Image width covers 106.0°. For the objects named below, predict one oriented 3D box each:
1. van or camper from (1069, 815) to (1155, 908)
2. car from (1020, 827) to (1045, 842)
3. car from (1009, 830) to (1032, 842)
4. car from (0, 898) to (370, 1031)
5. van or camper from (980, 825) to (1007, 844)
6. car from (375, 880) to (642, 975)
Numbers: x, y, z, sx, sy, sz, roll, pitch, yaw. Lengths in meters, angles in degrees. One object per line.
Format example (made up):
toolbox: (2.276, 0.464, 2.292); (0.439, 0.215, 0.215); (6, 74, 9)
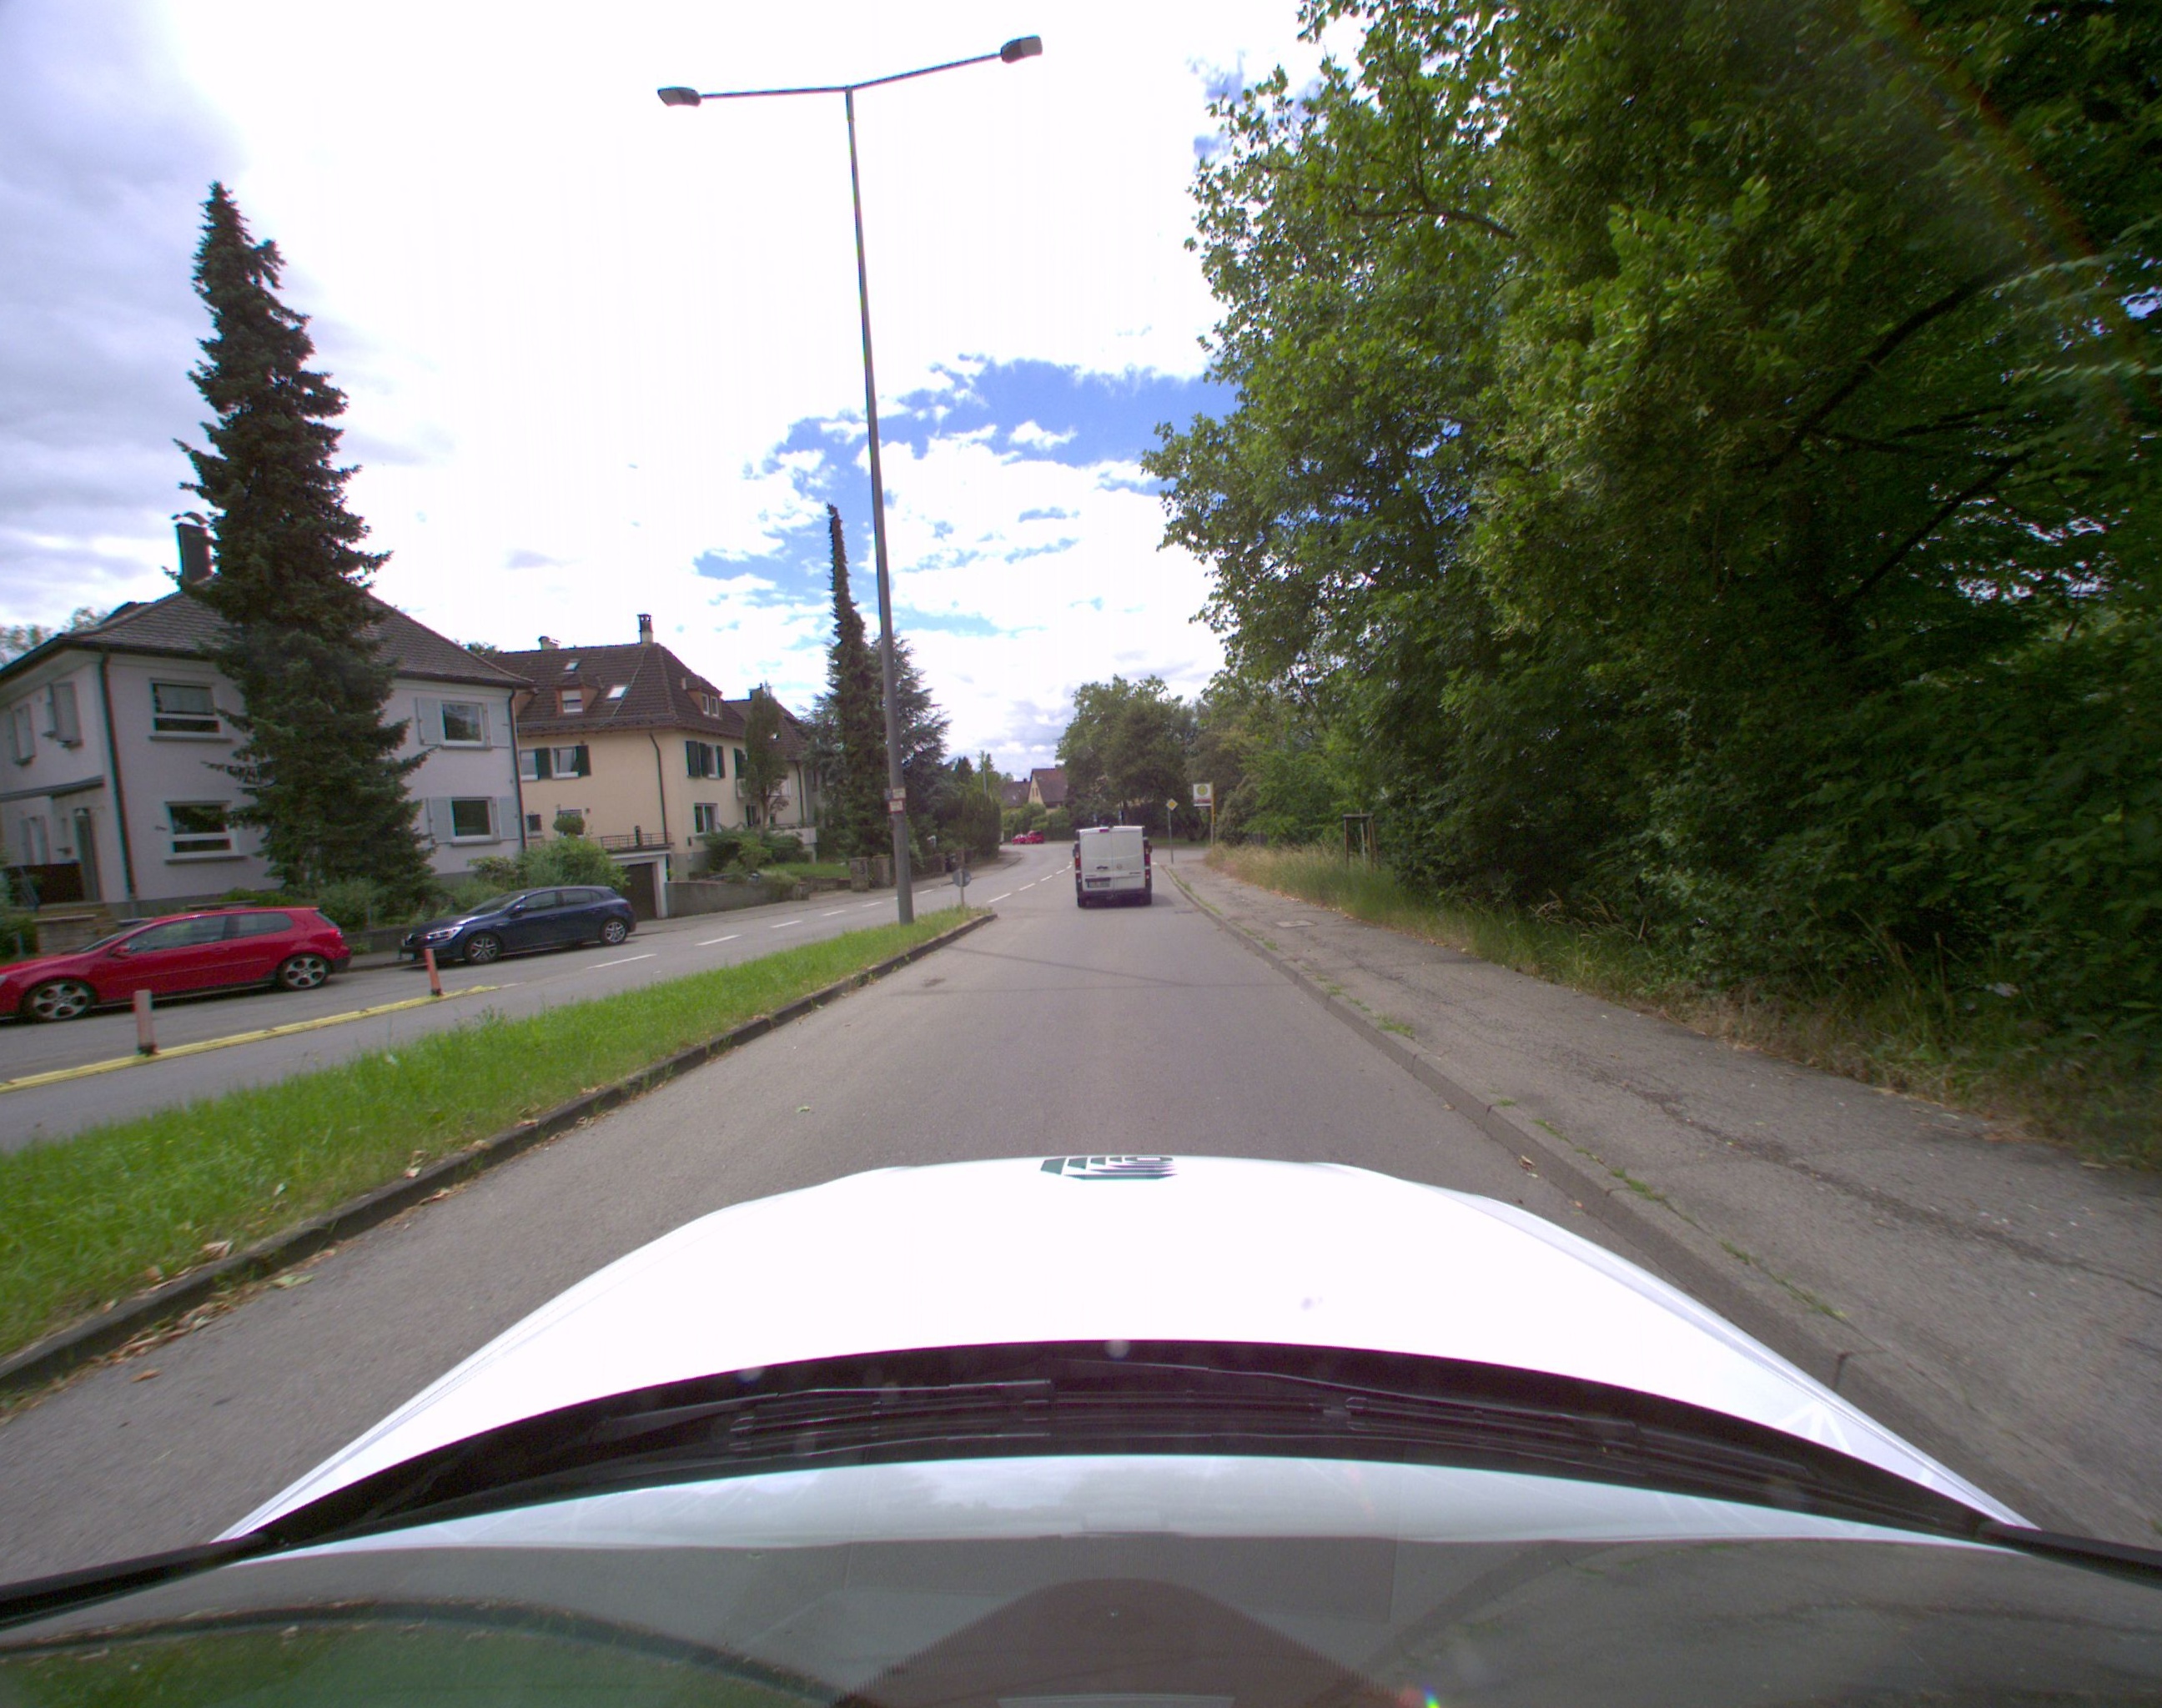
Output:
van or camper: (0.896, 0.066, 21.551); (1.915, 2.013, 4.836); (-3, 3, 4)
car: (-6.423, -2.500, 106.506); (1.767, 1.796, 4.914); (-5, 2, -21)
car: (-8.291, -2.387, 111.482); (1.721, 1.467, 4.233); (-5, 2, -25)
car: (-14.871, 1.678, 13.486); (1.710, 1.473, 4.307); (-2, 1, 34)
van or camper: (-13.334, -2.877, 124.307); (2.077, 2.674, 6.278); (-5, 3, -24)
car: (-12.159, 1.474, 17.643); (1.710, 1.473, 4.342); (-3, 1, 29)
